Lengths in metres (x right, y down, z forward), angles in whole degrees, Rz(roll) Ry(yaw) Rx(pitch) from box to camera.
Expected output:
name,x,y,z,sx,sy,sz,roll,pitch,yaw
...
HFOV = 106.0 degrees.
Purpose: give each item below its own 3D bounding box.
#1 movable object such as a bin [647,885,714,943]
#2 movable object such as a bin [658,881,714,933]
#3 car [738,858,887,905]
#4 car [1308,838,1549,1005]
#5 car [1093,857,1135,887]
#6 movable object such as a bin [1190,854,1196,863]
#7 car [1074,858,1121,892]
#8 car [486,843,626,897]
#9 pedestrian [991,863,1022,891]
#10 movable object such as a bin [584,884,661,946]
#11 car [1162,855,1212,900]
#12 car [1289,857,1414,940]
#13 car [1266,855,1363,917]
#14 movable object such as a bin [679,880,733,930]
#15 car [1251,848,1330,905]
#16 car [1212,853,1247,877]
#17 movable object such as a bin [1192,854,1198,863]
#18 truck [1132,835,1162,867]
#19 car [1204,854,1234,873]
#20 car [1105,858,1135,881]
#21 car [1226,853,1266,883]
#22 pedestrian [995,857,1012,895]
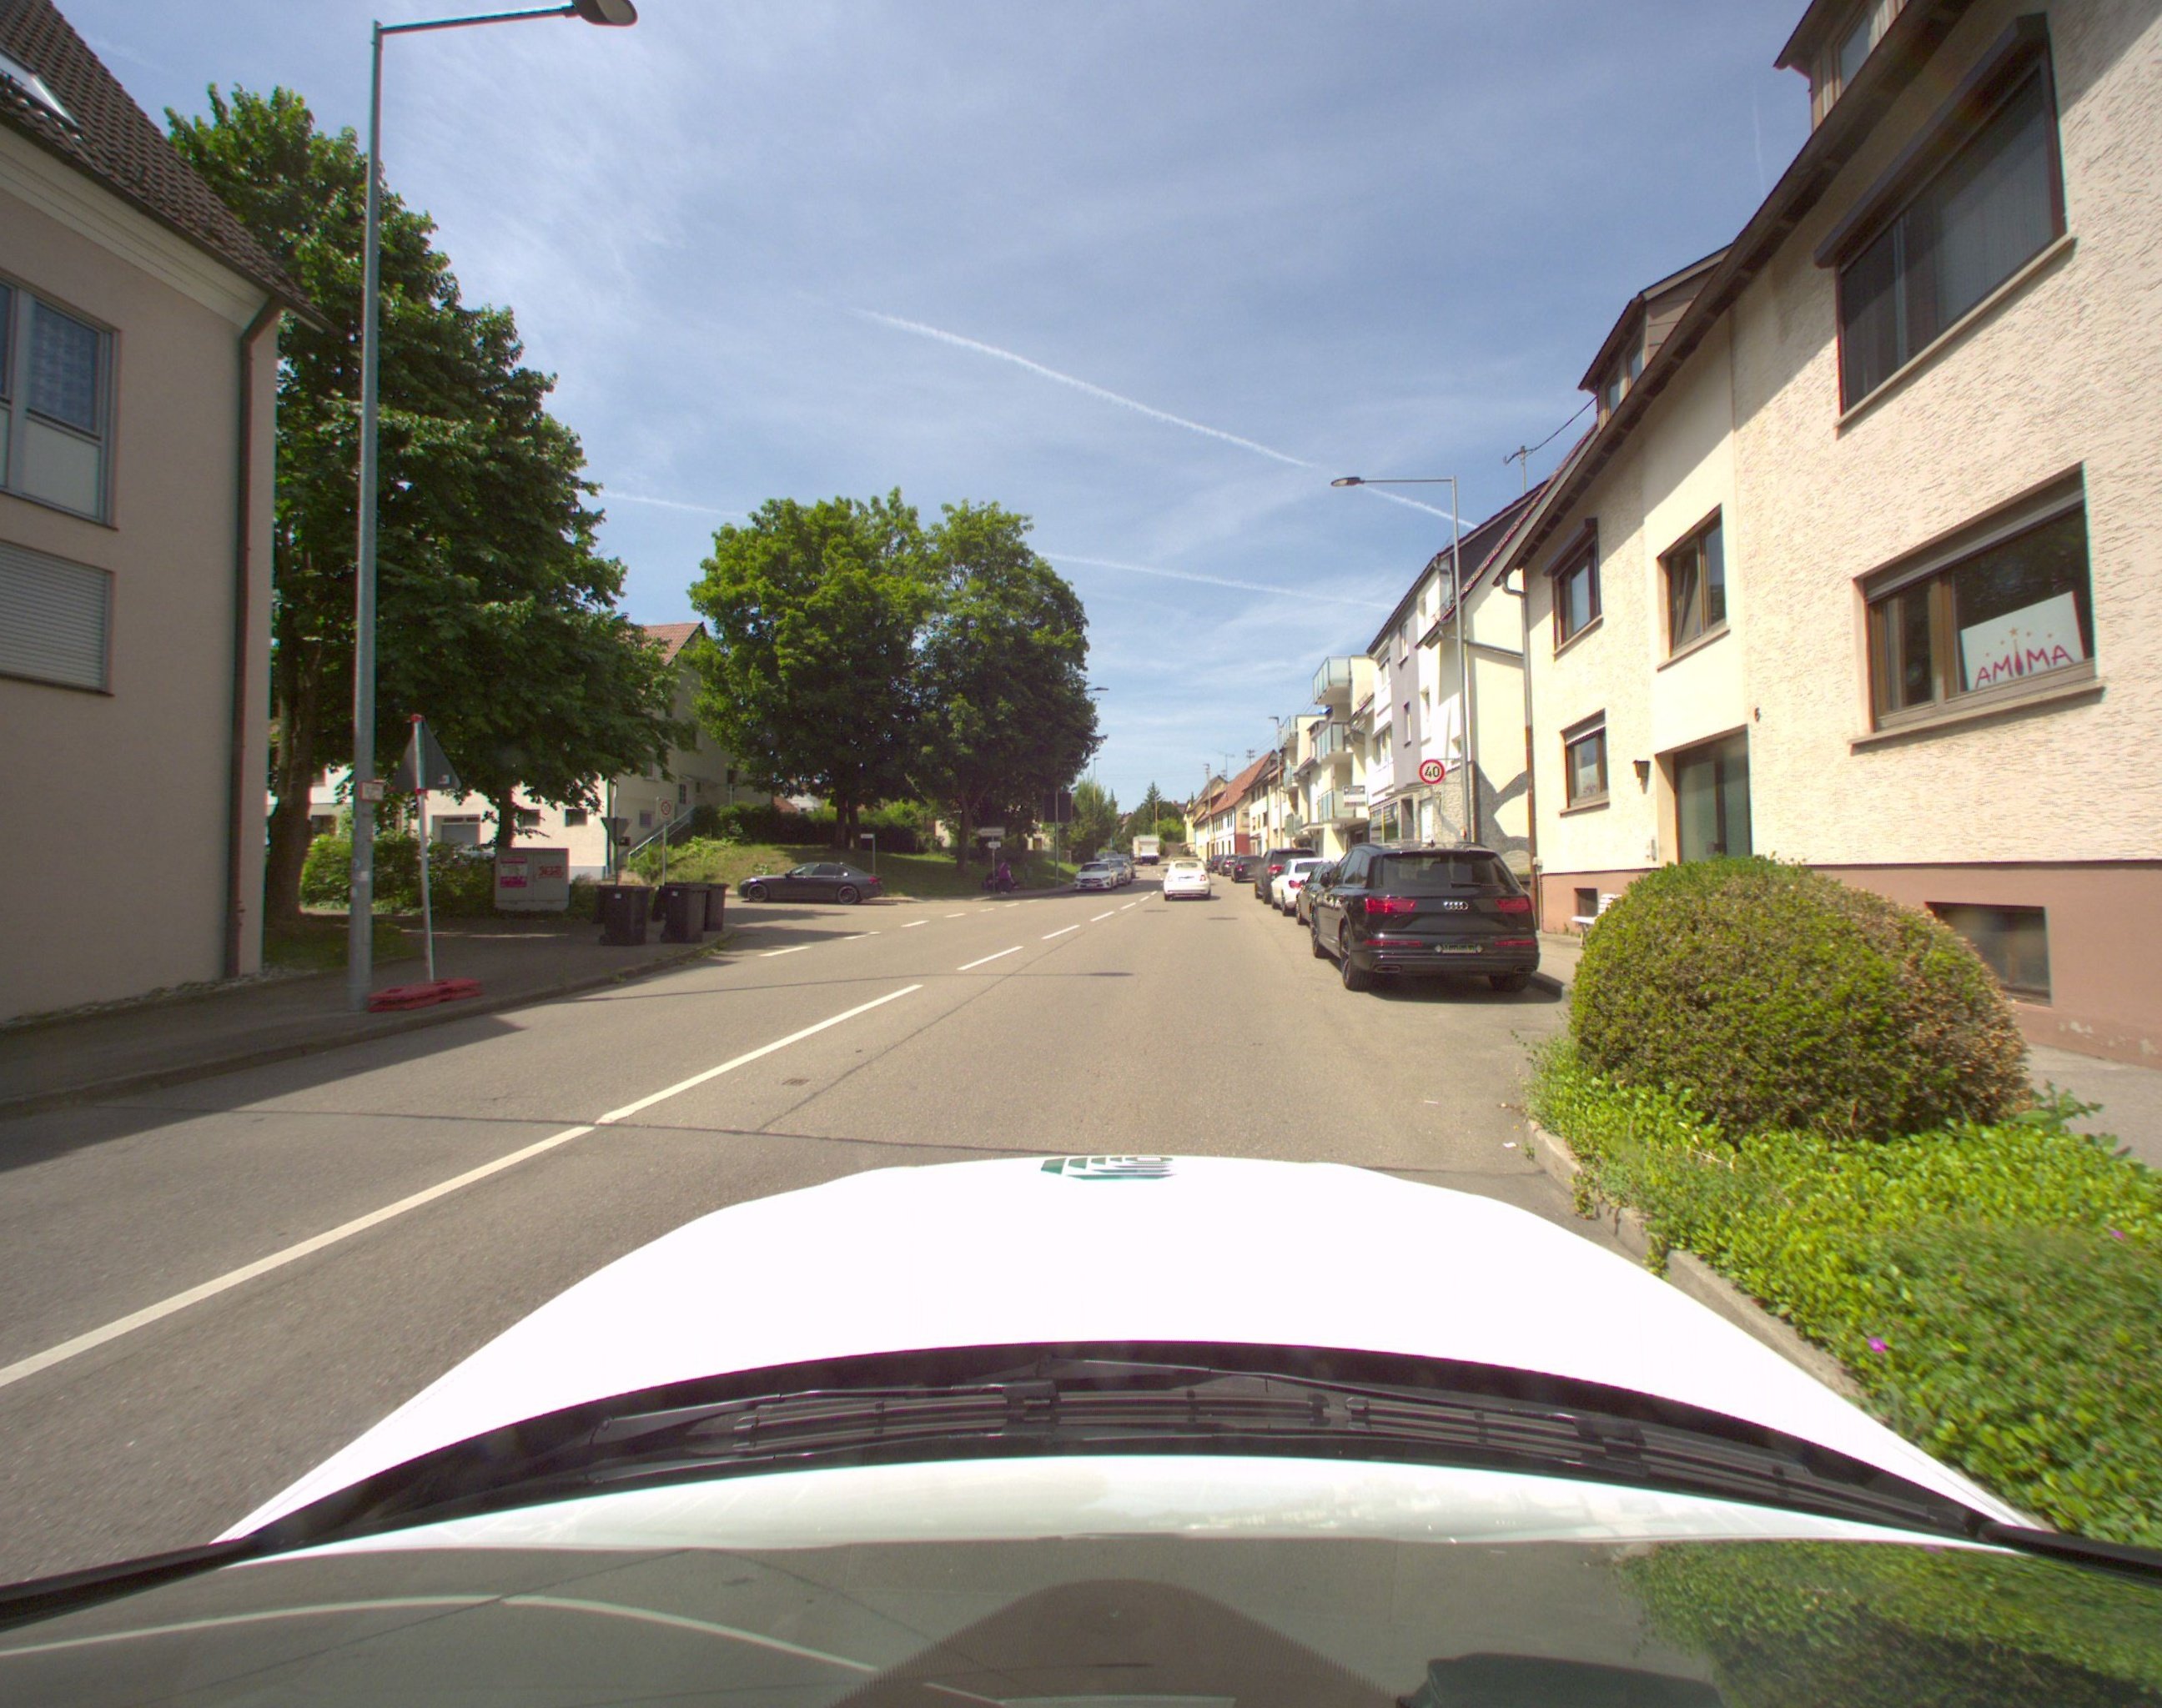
name,x,y,z,sx,sy,sz,roll,pitch,yaw
movable object such as a bin,-7.263,1.078,14.791,0.846,1.000,0.696,-1,-1,11
movable object such as a bin,-8.131,1.080,16.771,0.766,1.000,0.611,3,-2,11
car,-9.536,0.992,29.316,4.775,1.479,1.993,2,-1,-10
car,4.147,0.695,10.577,1.832,1.670,4.668,0,-1,9
car,1.923,1.004,46.272,1.761,1.527,4.233,-3,0,10
movable object such as a bin,13.291,0.542,96.450,0.545,1.033,0.551,-4,0,0
car,0.884,1.011,40.384,1.745,1.467,4.373,-3,0,8
car,-18.952,0.562,29.487,3.960,1.684,1.915,2,0,12
pedestrian,-3.394,1.043,37.232,1.228,1.269,0.649,0,-1,12
movable object such as a bin,-7.969,1.041,14.182,0.795,1.000,0.807,1,0,11
car,3.943,0.801,30.096,1.715,1.560,4.009,0,0,8
car,5.384,0.811,16.733,1.778,1.420,4.370,-1,0,10
car,6.150,0.783,21.974,1.779,1.455,4.726,-1,0,7
movable object such as a bin,-8.015,1.088,17.409,0.766,1.000,0.611,3,-2,12
car,6.828,0.671,27.034,1.943,1.716,4.726,0,0,7
car,9.752,0.686,53.847,1.786,1.403,4.417,-3,0,4
movable object such as a bin,13.196,0.564,94.625,0.545,1.033,0.551,-4,0,0
truck,8.137,-0.279,101.197,3.059,3.774,7.865,-2,-1,0
car,10.606,0.724,62.851,1.660,1.352,4.188,-1,0,1
car,2.815,1.094,57.952,1.795,1.423,4.936,-2,0,6
car,8.665,0.706,43.087,1.787,1.424,4.299,-2,-1,8
pedestrian,-3.390,0.947,35.462,0.729,1.616,0.627,0,-1,-8
